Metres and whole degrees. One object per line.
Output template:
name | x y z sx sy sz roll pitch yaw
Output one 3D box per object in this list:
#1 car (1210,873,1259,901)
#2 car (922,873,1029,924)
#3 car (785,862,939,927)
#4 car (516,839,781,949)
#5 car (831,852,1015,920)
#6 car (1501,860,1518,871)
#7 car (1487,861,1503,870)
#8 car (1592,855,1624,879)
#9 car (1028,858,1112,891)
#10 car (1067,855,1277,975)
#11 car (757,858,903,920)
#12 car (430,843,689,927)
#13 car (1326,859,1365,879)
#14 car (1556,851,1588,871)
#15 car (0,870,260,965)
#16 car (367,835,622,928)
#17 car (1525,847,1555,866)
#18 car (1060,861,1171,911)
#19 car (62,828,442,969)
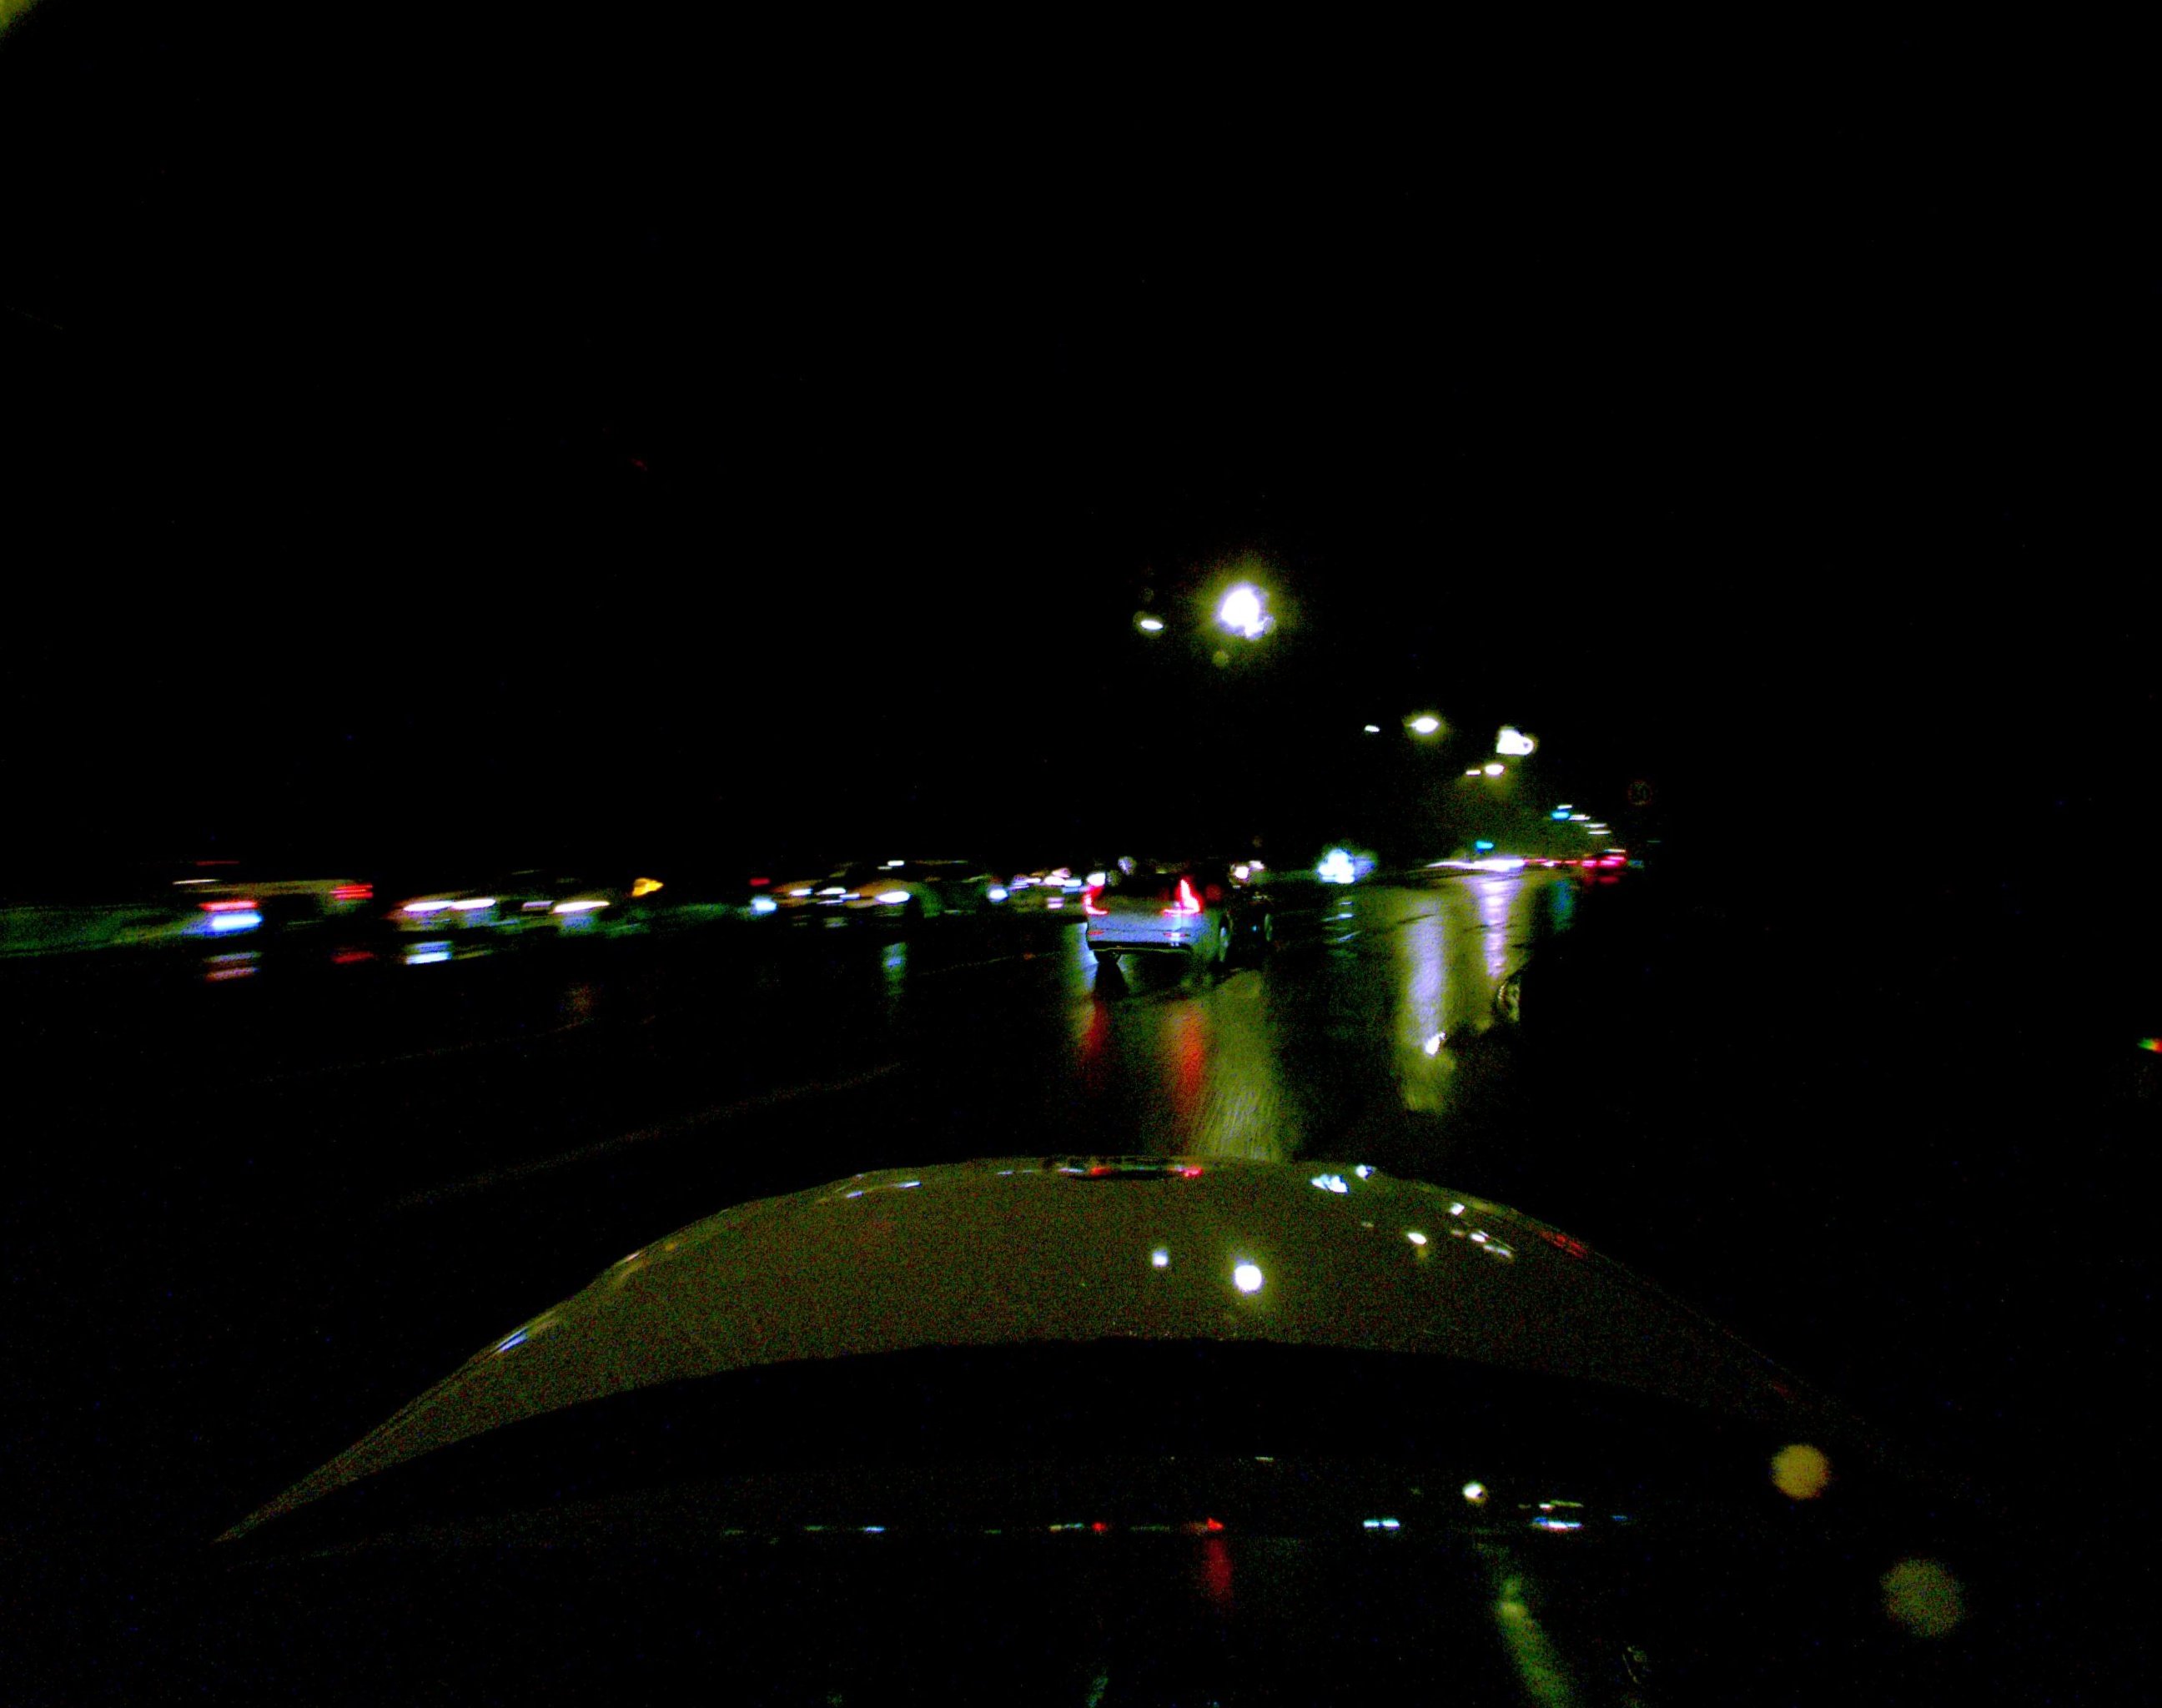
car | 9.785 2.085 51.724 1.479 1.602 4.172 0 0 35
car | -4.002 1.677 31.512 1.742 1.848 4.150 -1 -2 35
car | -6.100 1.116 23.103 1.781 1.666 4.001 -1 -2 35
car | -7.750 0.628 14.920 1.742 1.725 3.926 0 0 37
car | -3.747 0.713 20.085 1.759 1.484 4.440 -1 -1 36
car | 57.645 1.570 109.583 1.574 1.427 3.372 -1 0 36
car | 59.388 1.630 116.841 1.627 1.203 3.638 -1 0 34
car | 40.909 1.022 63.176 1.892 1.601 4.024 5 0 34
car | -0.423 0.892 36.624 1.742 1.377 4.065 -1 -1 35
car | 1.580 0.777 12.288 1.780 1.452 4.293 1 0 26
car | -7.970 1.099 26.213 1.781 1.799 4.277 -1 -2 35
car | -10.454 0.622 16.598 1.696 1.487 4.083 -1 -2 39
car | 21.674 1.227 66.659 1.865 1.531 4.459 1 -1 34
car | 46.579 0.690 77.210 2.157 1.601 4.024 5 0 36
car | -16.880 0.982 13.163 1.742 1.427 4.833 -1 -2 36
car | -13.116 0.606 18.495 1.743 1.848 4.311 1 -1 35
car | 45.926 0.258 81.455 2.157 1.601 4.024 5 0 34
car | 1.285 1.062 28.197 1.795 1.578 4.333 -2 -1 34
car | -18.088 0.933 18.347 5.637 2.710 2.230 3 -1 -40
